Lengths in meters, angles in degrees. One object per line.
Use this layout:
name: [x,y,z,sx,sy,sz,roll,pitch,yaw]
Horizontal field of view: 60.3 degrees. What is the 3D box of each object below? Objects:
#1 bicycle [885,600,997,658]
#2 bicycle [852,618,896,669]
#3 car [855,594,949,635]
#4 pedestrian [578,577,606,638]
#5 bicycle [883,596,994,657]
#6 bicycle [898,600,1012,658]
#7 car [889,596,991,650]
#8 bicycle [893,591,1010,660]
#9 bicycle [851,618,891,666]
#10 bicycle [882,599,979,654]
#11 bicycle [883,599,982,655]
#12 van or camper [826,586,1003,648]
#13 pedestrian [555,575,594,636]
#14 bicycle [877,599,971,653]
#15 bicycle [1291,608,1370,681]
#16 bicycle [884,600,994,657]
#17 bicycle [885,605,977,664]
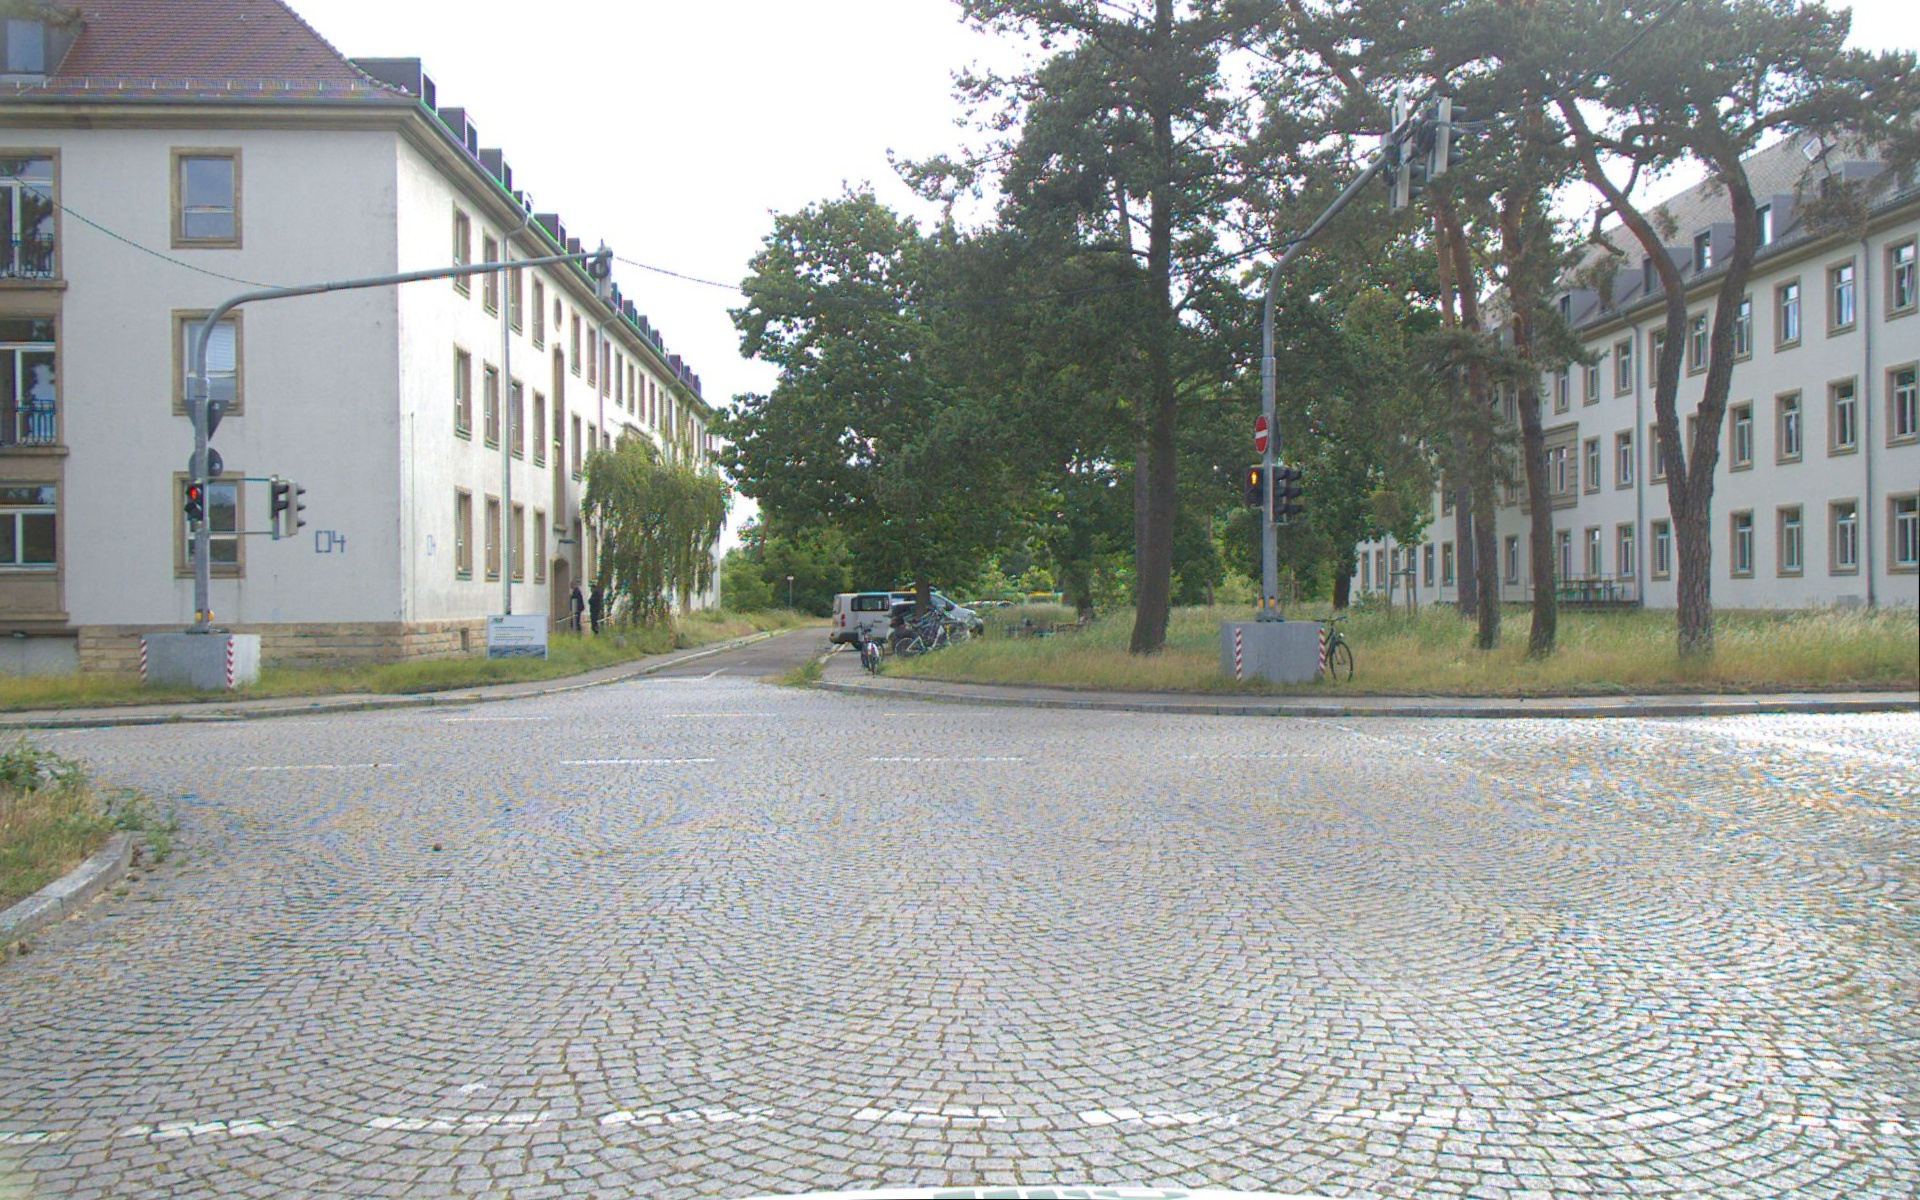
bicycle: [-0.480,0.704,41.181,2.747,1.396,0.950,-1,0,-3]
bicycle: [-1.811,0.907,34.786,0.882,1.014,1.977,-1,0,-3]
car: [-2.476,0.606,70.103,3.909,1.628,1.702,-1,0,-5]
pedestrian: [-11.968,0.243,53.758,0.850,1.966,0.834,1,-1,-14]
bicycle: [-0.522,0.618,38.843,2.567,1.391,0.874,-1,0,-3]
bicycle: [-0.136,0.704,40.663,2.747,1.396,0.950,-1,0,-3]
car: [-0.660,0.728,52.843,3.161,1.649,1.936,1,-1,-4]
bicycle: [-0.222,0.599,39.728,2.747,1.611,0.950,-1,0,-3]
bicycle: [-1.977,0.923,36.871,0.712,1.014,1.979,-1,0,2]
bicycle: [-0.786,0.694,43.865,2.517,1.396,0.950,-1,0,-4]
bicycle: [-0.735,0.688,43.027,2.517,1.396,0.950,-1,0,-4]
van or camper: [-1.565,0.566,56.308,5.646,1.991,2.229,-1,0,-15]
pedestrian: [-12.316,0.185,52.868,1.174,1.903,1.545,1,-1,-13]
bicycle: [-0.984,0.699,44.694,2.517,1.396,0.950,-1,0,-4]
bicycle: [5.905,0.692,26.439,0.632,1.081,1.832,-4,0,-5]
bicycle: [-0.548,0.711,42.072,2.747,1.396,0.950,-1,0,-3]
bicycle: [-0.679,0.790,38.222,2.071,1.329,0.874,-1,0,-3]
